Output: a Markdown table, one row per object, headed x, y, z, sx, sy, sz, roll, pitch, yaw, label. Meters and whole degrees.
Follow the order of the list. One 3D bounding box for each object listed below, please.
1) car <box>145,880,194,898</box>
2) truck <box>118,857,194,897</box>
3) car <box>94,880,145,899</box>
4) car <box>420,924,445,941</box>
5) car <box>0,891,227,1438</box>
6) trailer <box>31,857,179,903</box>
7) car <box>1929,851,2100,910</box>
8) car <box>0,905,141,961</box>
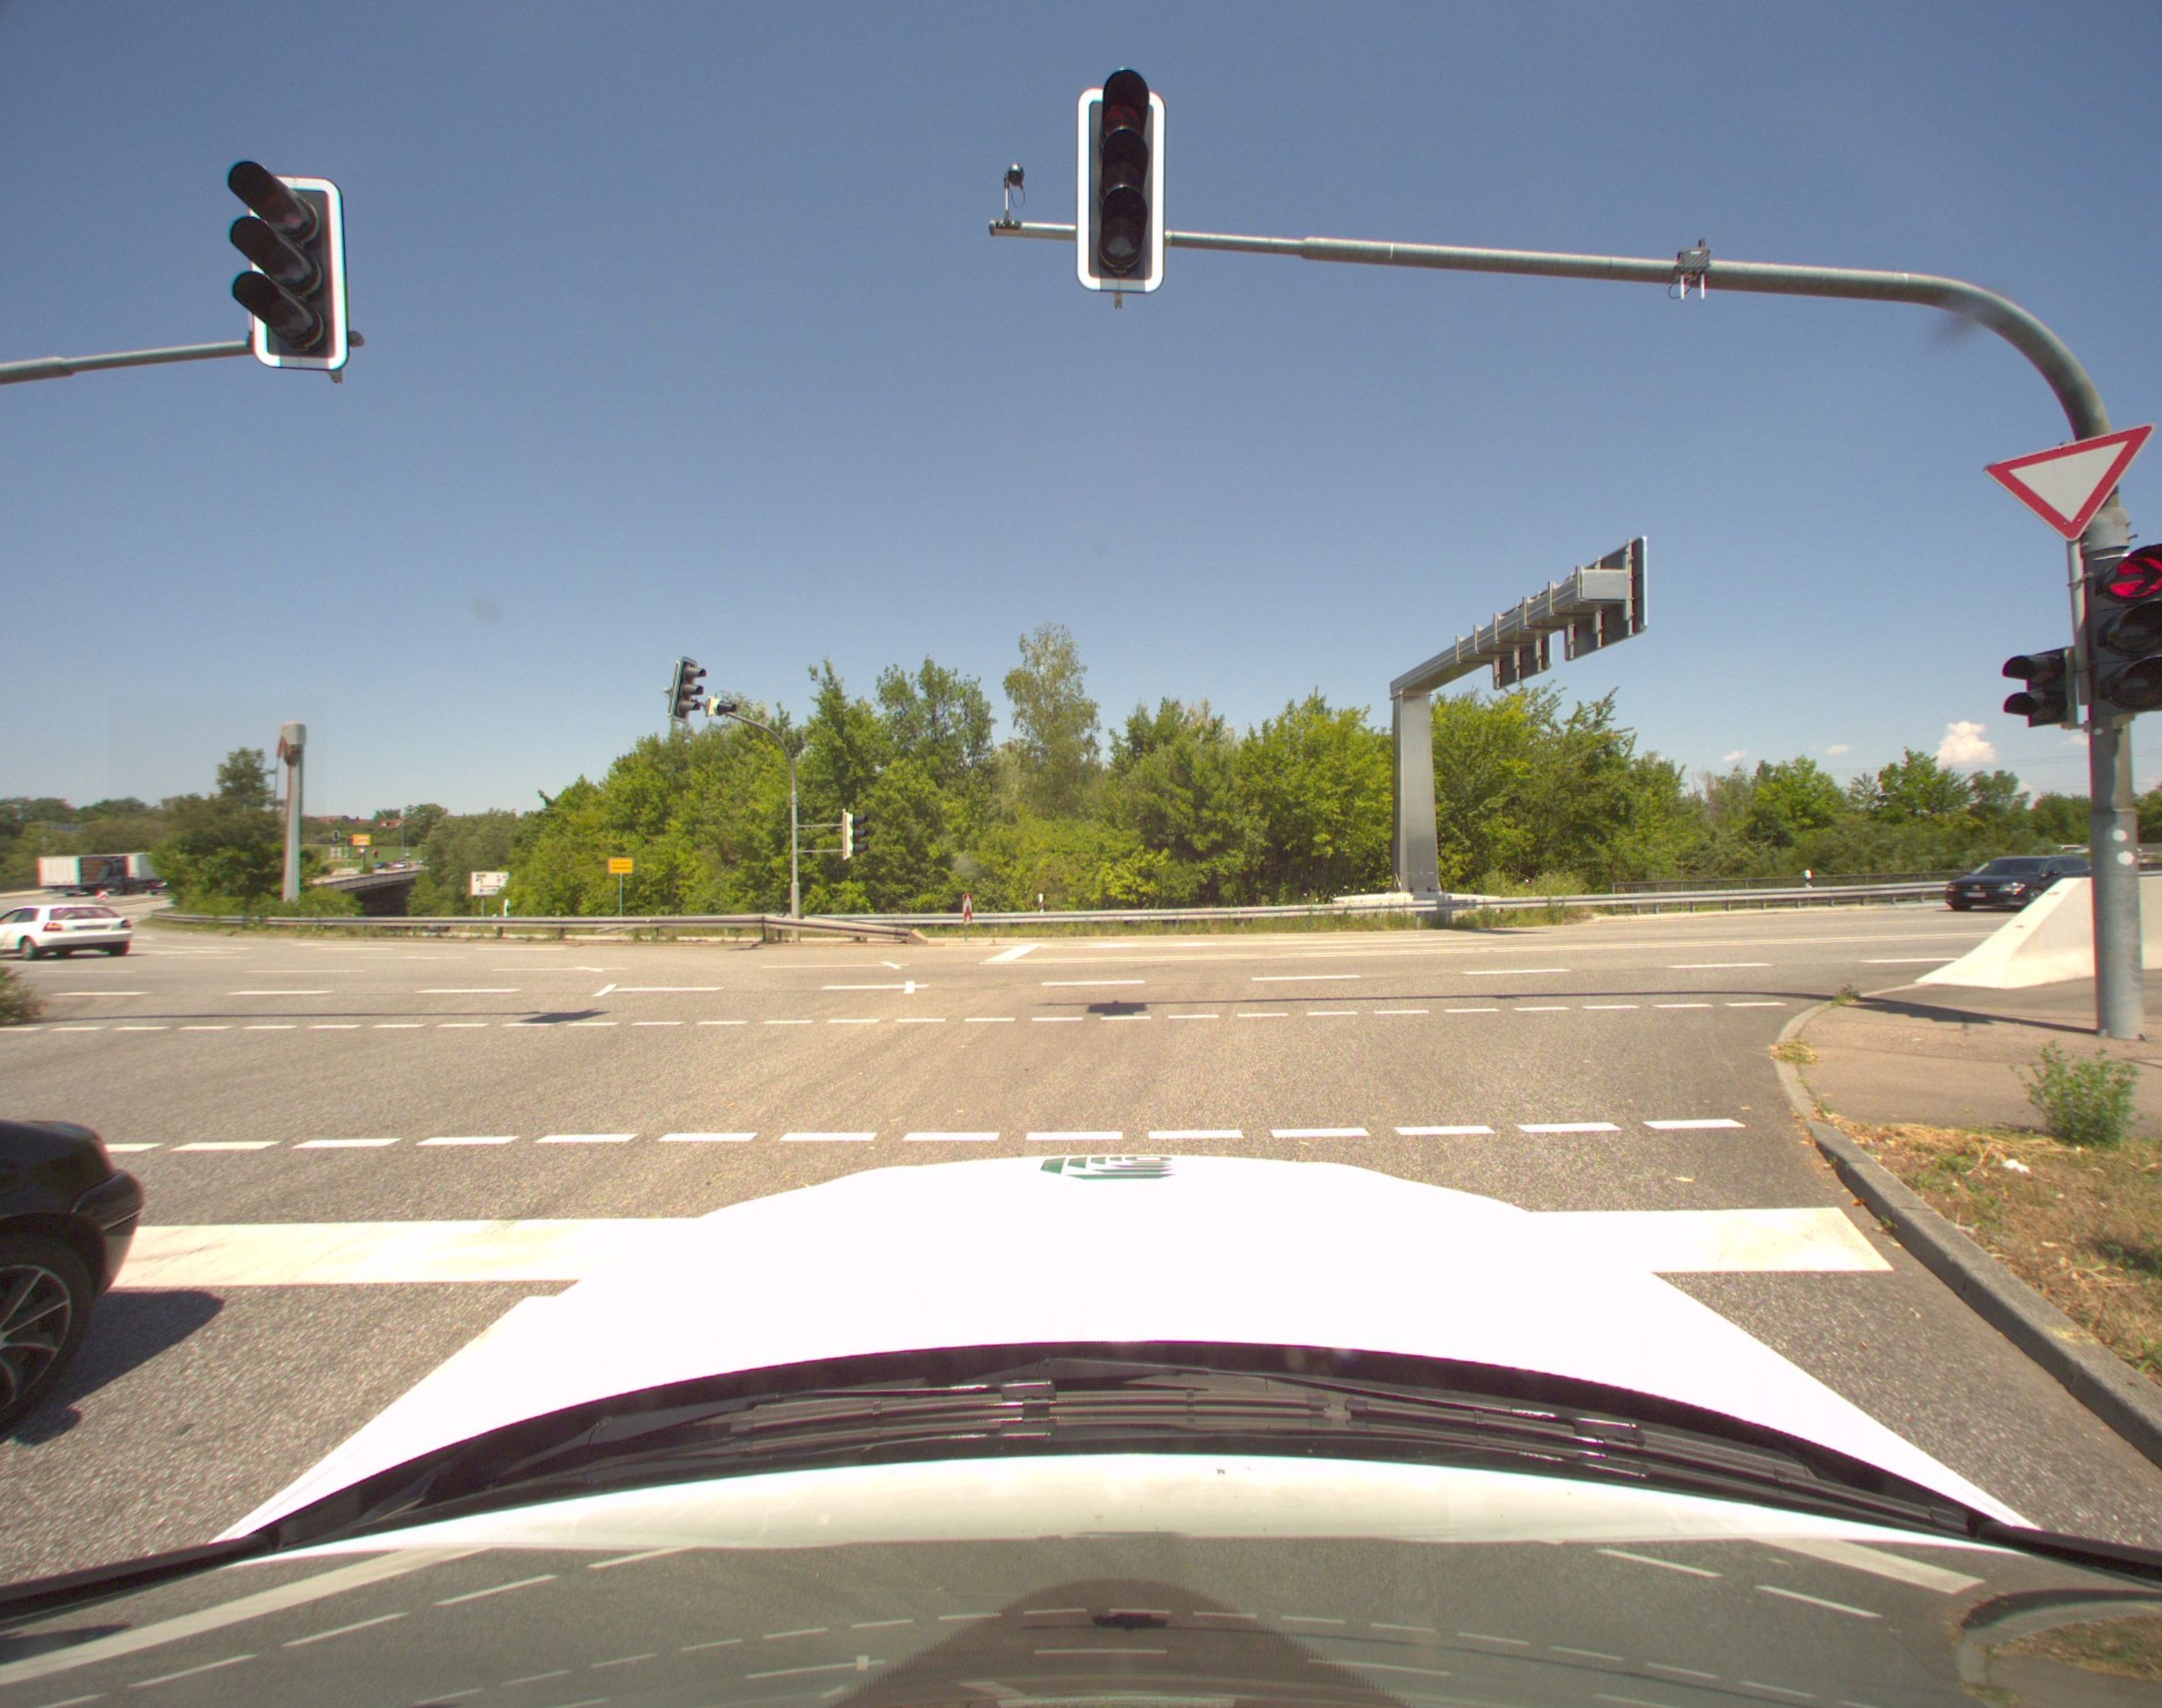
| x | y | z | sx | sy | sz | roll | pitch | yaw | label |
| --- | --- | --- | --- | --- | --- | --- | --- | --- | --- |
| -92.955 | 3.590 | 83.098 | 1.886 | 1.622 | 3.967 | 0 | 0 | -25 | car |
| -104.479 | 2.520 | 92.115 | 3.246 | 4.248 | 6.189 | 0 | 0 | -23 | truck |
| -96.062 | 3.502 | 81.391 | 1.889 | 1.732 | 3.965 | 0 | 0 | -27 | car |
| -62.600 | 7.545 | 78.606 | 1.820 | 1.434 | 4.362 | 3 | -5 | -38 | car |
| -3.604 | 0.826 | 1.034 | 1.615 | 1.407 | 3.297 | -1 | -1 | -2 | car |
| -101.430 | 2.522 | 85.175 | 3.245 | 4.248 | 15.289 | 0 | 0 | -23 | trailer |
| 28.598 | 0.815 | 24.962 | 4.275 | 1.632 | 1.892 | -1 | -5 | -19 | car |
| -27.540 | 2.063 | 21.707 | 3.947 | 1.396 | 1.653 | -1 | -4 | 16 | car |
